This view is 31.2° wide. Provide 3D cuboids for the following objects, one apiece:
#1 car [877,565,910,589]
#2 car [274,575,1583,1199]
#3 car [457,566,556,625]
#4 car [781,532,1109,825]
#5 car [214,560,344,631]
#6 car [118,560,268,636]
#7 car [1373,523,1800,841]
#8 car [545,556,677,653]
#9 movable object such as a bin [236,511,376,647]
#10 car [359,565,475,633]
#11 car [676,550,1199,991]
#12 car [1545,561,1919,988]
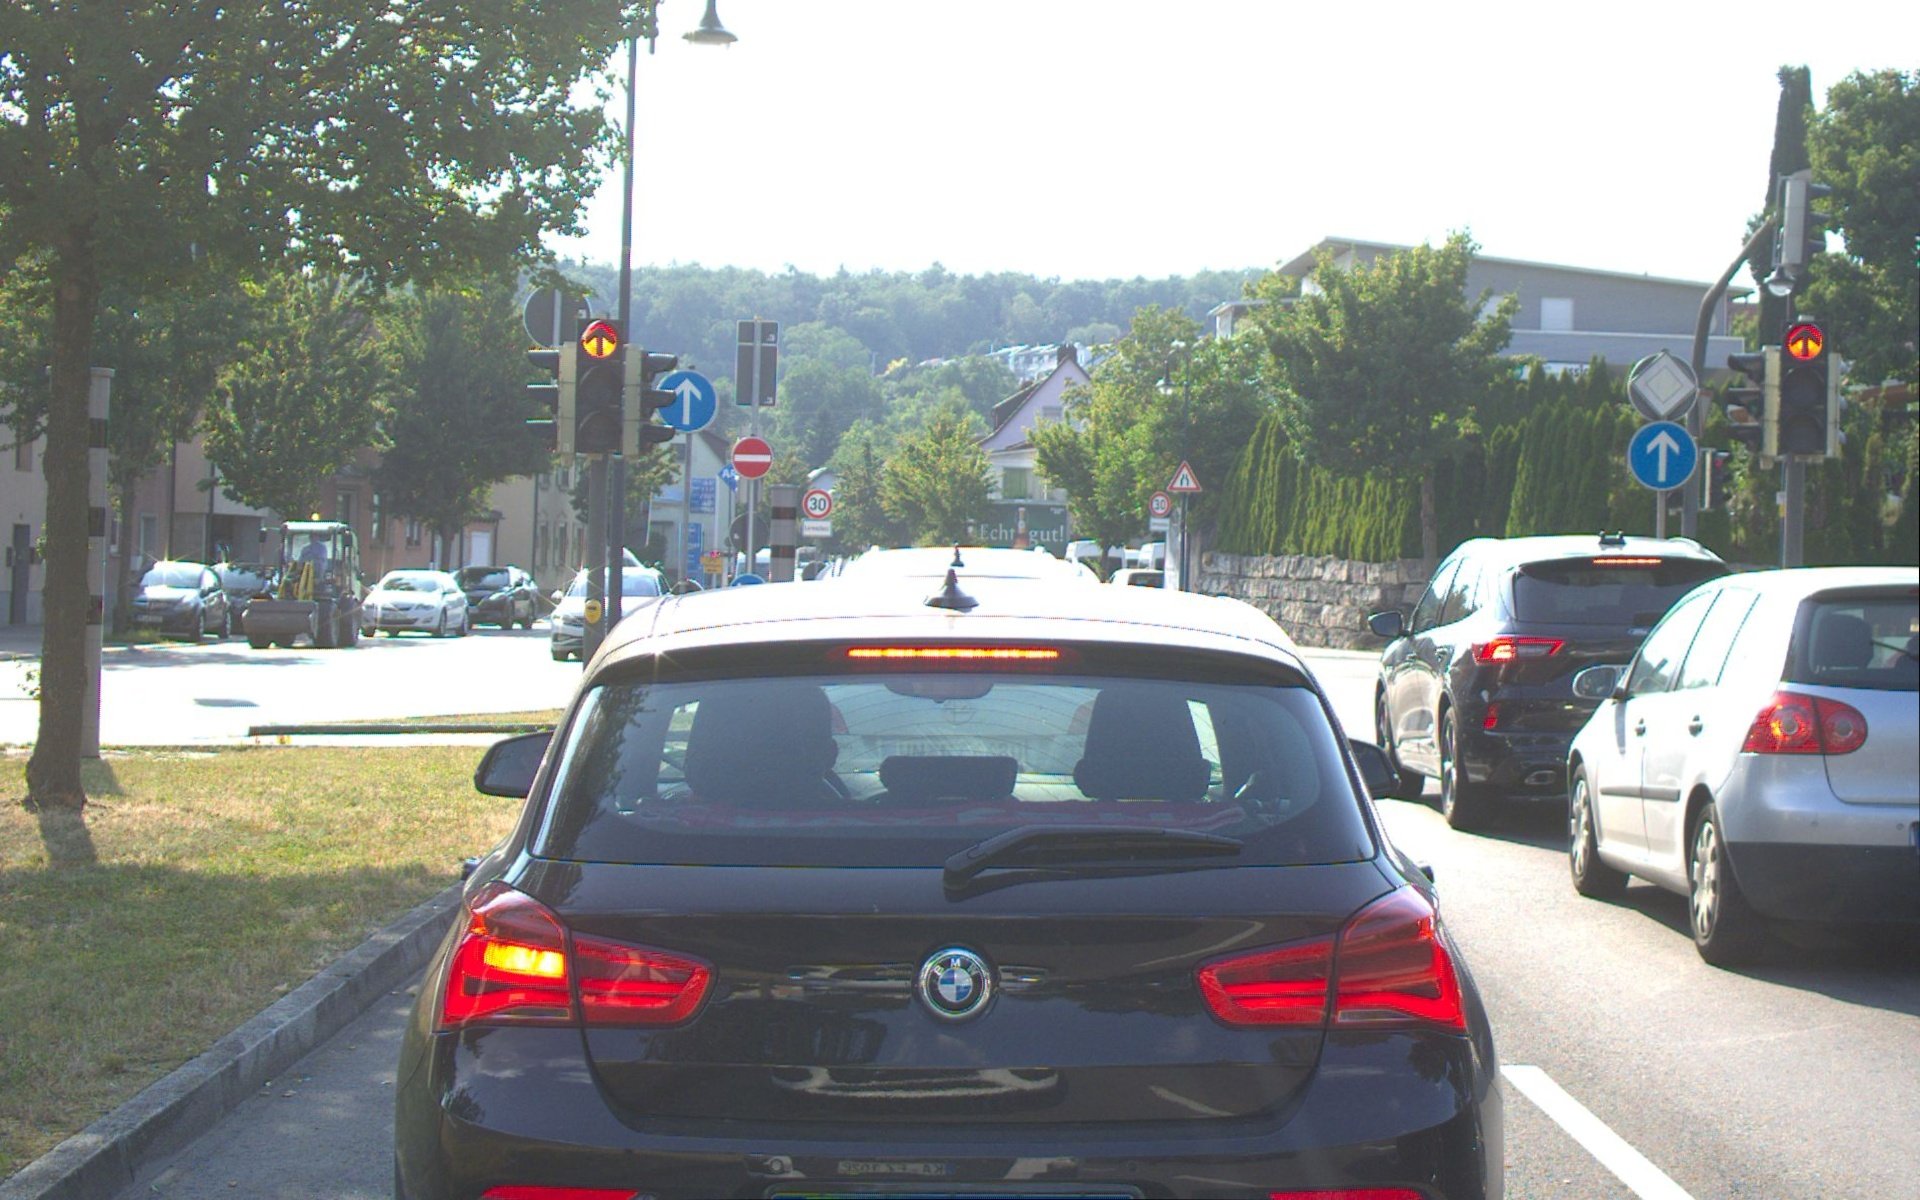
[{"bbox_3d":[-4.129,-1.419,213.514,1.737,1.296,3.799,5,1,2],"label":"car"},{"bbox_3d":[-0.037,0.679,6.865,1.788,1.393,4.281,-1,1,0],"label":"car"},{"bbox_3d":[-11.430,-0.130,86.872,1.737,1.296,3.799,5,1,2],"label":"car"},{"bbox_3d":[-0.080,0.395,21.050,1.788,1.588,4.281,-1,1,0],"label":"car"},{"bbox_3d":[-14.516,-0.117,73.434,1.737,1.296,4.000,5,1,2],"label":"car"},{"bbox_3d":[-14.938,-0.060,67.159,1.737,1.296,4.000,5,1,3],"label":"car"},{"bbox_3d":[3.529,0.400,20.030,1.761,1.650,3.903,-1,1,0],"label":"car"},{"bbox_3d":[-5.590,0.049,55.440,1.839,1.477,4.000,1,1,-2],"label":"car"},{"bbox_3d":[-12.125,-0.398,63.939,1.736,2.433,4.450,0,1,0],"label":"movable object such as a bin"},{"bbox_3d":[-11.983,-0.046,76.075,1.737,1.296,3.799,5,1,2],"label":"car"},{"bbox_3d":[-0.073,0.559,14.011,1.788,1.488,4.281,-1,1,0],"label":"car"},{"bbox_3d":[3.556,0.578,13.748,1.761,1.421,3.903,-1,1,0],"label":"car"}]
